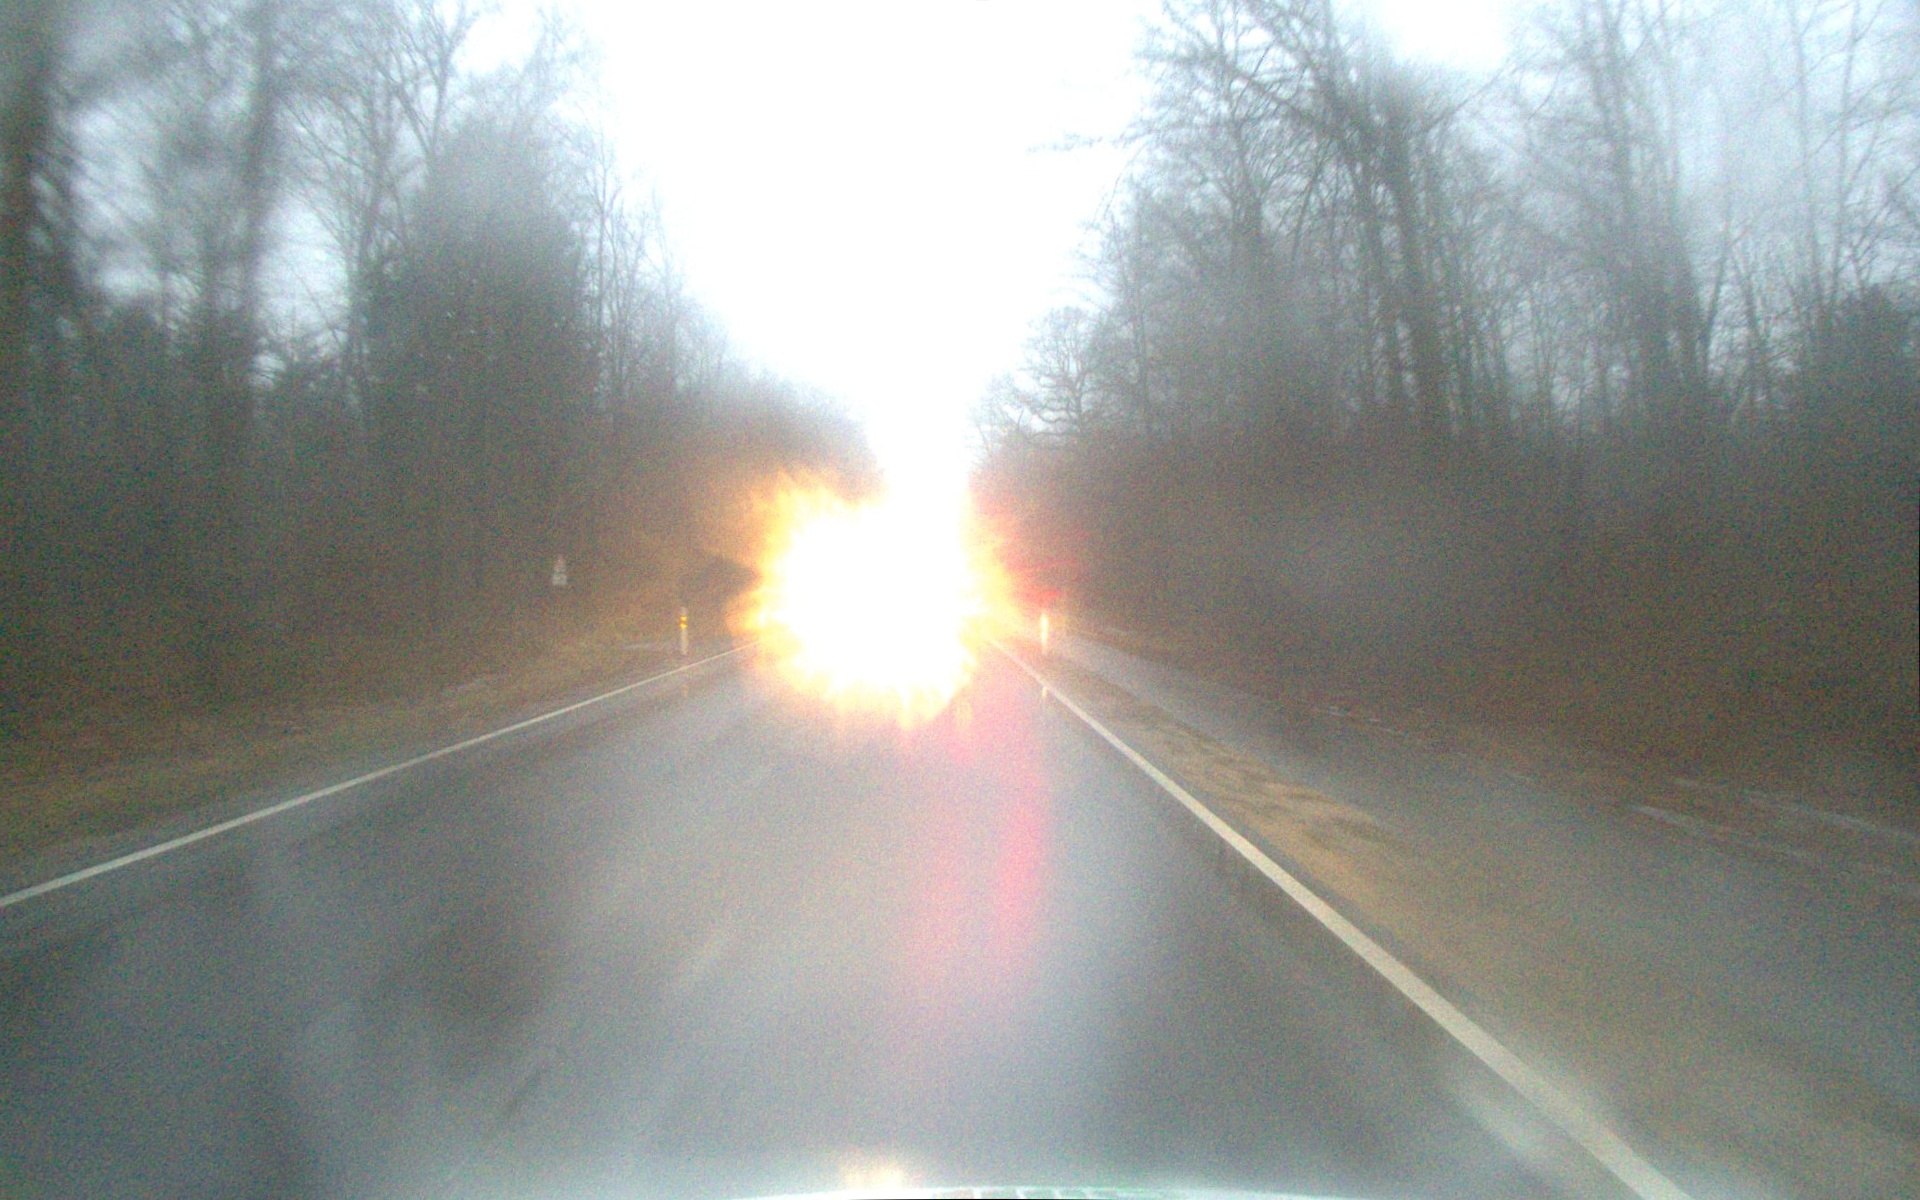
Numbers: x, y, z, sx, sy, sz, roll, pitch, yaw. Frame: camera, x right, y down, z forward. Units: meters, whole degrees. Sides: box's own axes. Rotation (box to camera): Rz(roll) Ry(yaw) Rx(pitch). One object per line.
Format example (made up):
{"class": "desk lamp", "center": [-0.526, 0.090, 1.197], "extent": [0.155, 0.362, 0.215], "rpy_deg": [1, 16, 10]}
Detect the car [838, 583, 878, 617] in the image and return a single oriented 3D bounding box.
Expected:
{"class": "car", "center": [-5.083, -0.018, 82.850], "extent": [1.763, 1.628, 3.861], "rpy_deg": [-1, 0, -1]}

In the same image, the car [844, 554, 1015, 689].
{"class": "car", "center": [-0.568, 0.388, 33.934], "extent": [3.118, 2.428, 6.636], "rpy_deg": [1, 0, 0]}
